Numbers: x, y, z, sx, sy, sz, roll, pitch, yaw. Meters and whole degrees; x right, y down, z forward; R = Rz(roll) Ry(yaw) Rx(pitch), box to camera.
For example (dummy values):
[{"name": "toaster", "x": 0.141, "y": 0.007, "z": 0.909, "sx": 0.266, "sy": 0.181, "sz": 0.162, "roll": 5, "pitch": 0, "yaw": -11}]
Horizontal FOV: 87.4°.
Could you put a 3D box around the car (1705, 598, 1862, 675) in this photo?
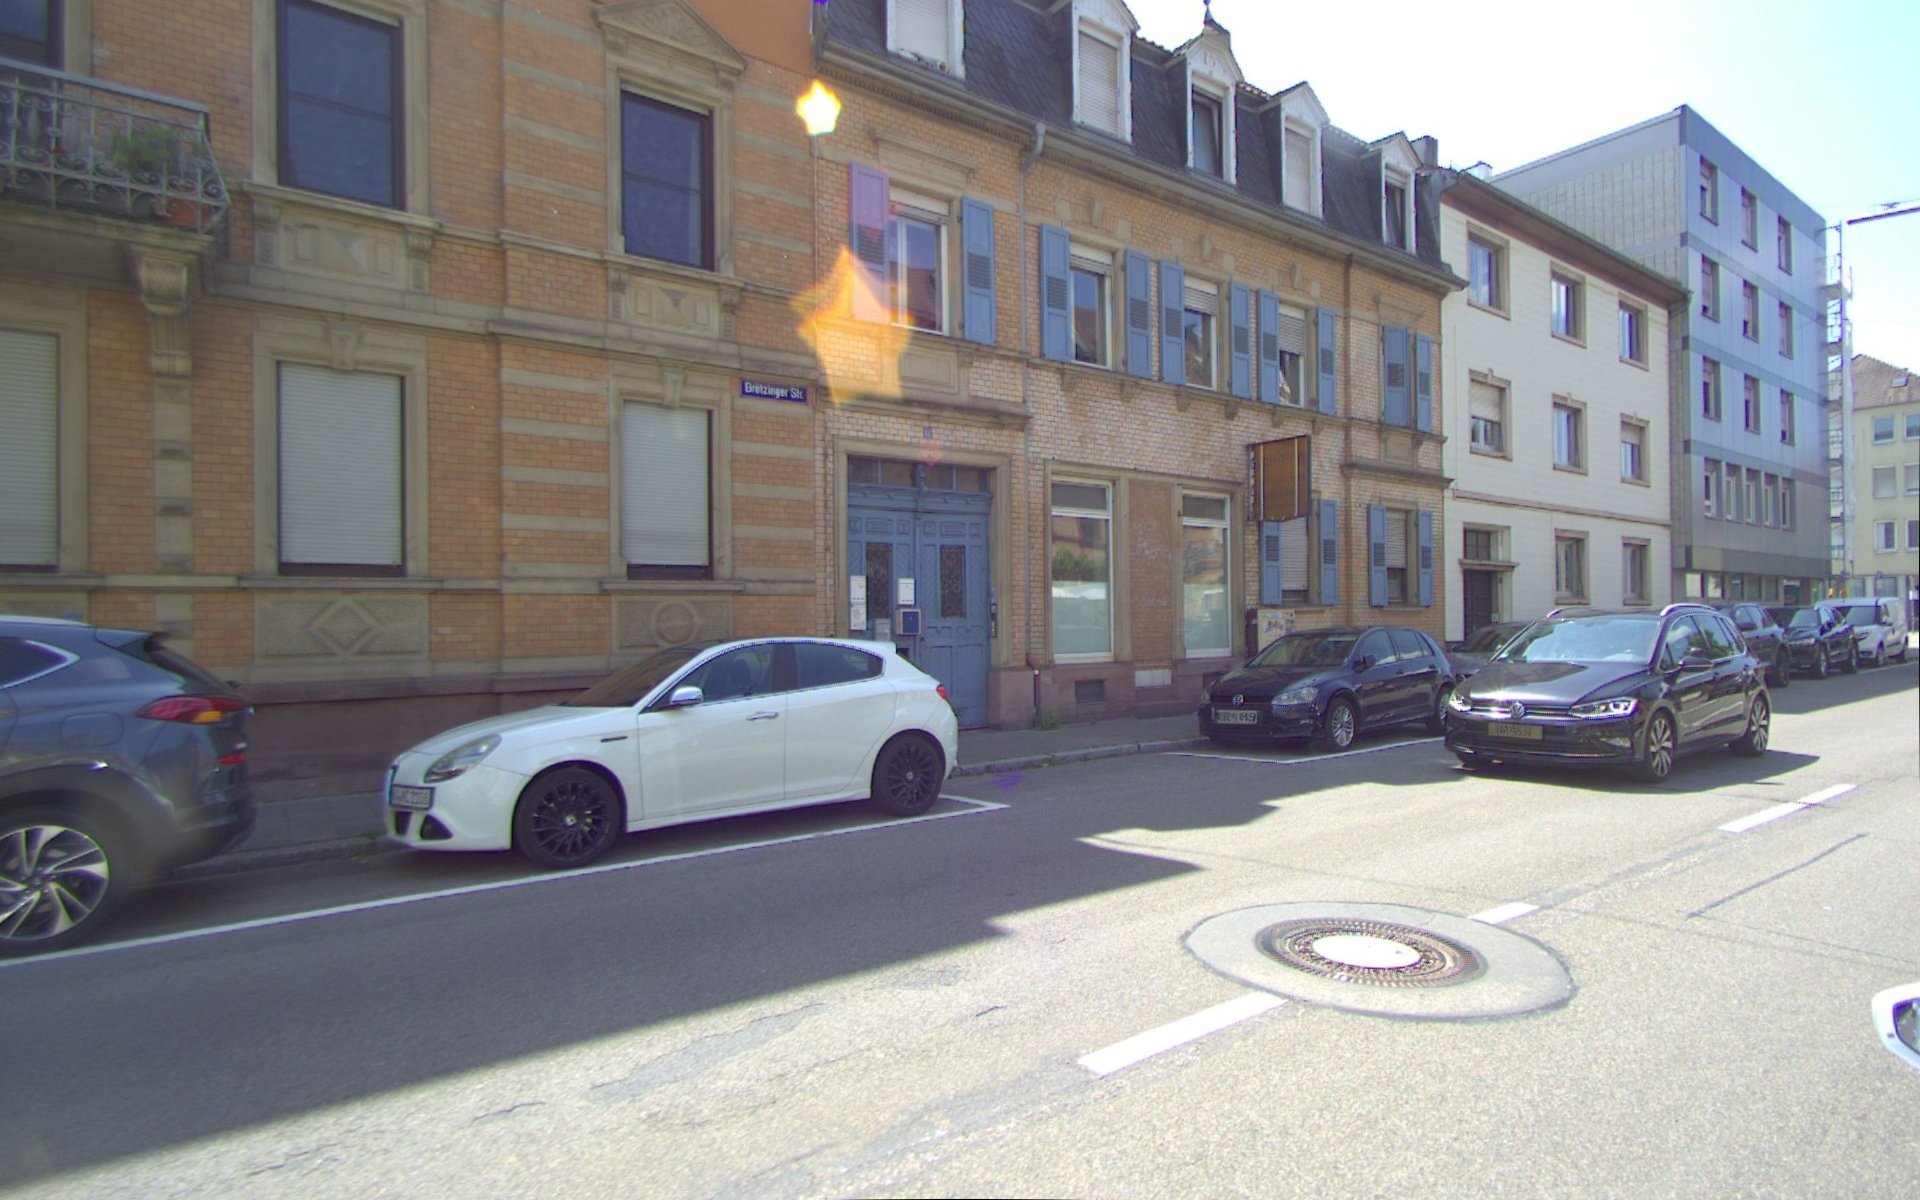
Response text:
[{"name": "car", "x": 19.458, "y": 0.826, "z": 23.665, "sx": 4.621, "sy": 1.662, "sz": 1.871, "roll": 0, "pitch": -2, "yaw": -38}]

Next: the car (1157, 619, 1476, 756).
[{"name": "car", "x": 4.628, "y": 1.029, "z": 12.762, "sx": 4.295, "sy": 1.424, "sz": 1.850, "roll": 1, "pitch": -5, "yaw": -40}]

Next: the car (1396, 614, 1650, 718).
[{"name": "car", "x": 9.087, "y": 1.001, "z": 16.051, "sx": 4.796, "sy": 1.424, "sz": 1.851, "roll": 0, "pitch": -5, "yaw": -39}]

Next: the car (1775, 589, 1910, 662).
[{"name": "car", "x": 24.249, "y": 0.695, "z": 27.554, "sx": 4.745, "sy": 1.849, "sz": 1.899, "roll": 0, "pitch": -2, "yaw": -38}]

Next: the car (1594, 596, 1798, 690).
[{"name": "car", "x": 14.654, "y": 0.806, "z": 19.904, "sx": 4.771, "sy": 1.662, "sz": 1.872, "roll": 0, "pitch": -2, "yaw": -36}]

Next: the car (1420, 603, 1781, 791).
[{"name": "car", "x": 6.574, "y": 0.813, "z": 10.146, "sx": 4.207, "sy": 1.514, "sz": 1.747, "roll": 0, "pitch": -2, "yaw": -38}]

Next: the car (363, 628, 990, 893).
[{"name": "car", "x": -2.038, "y": 1.024, "z": 7.777, "sx": 4.290, "sy": 1.444, "sz": 1.852, "roll": 0, "pitch": -5, "yaw": -37}]

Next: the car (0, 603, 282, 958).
[{"name": "car", "x": -5.928, "y": 0.905, "z": 4.724, "sx": 4.460, "sy": 1.648, "sz": 1.852, "roll": 0, "pitch": -5, "yaw": -38}]

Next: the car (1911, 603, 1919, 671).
[{"name": "car", "x": 23.242, "y": 0.799, "z": 22.803, "sx": 4.093, "sy": 1.497, "sz": 1.690, "roll": 0, "pitch": -1, "yaw": -36}]
